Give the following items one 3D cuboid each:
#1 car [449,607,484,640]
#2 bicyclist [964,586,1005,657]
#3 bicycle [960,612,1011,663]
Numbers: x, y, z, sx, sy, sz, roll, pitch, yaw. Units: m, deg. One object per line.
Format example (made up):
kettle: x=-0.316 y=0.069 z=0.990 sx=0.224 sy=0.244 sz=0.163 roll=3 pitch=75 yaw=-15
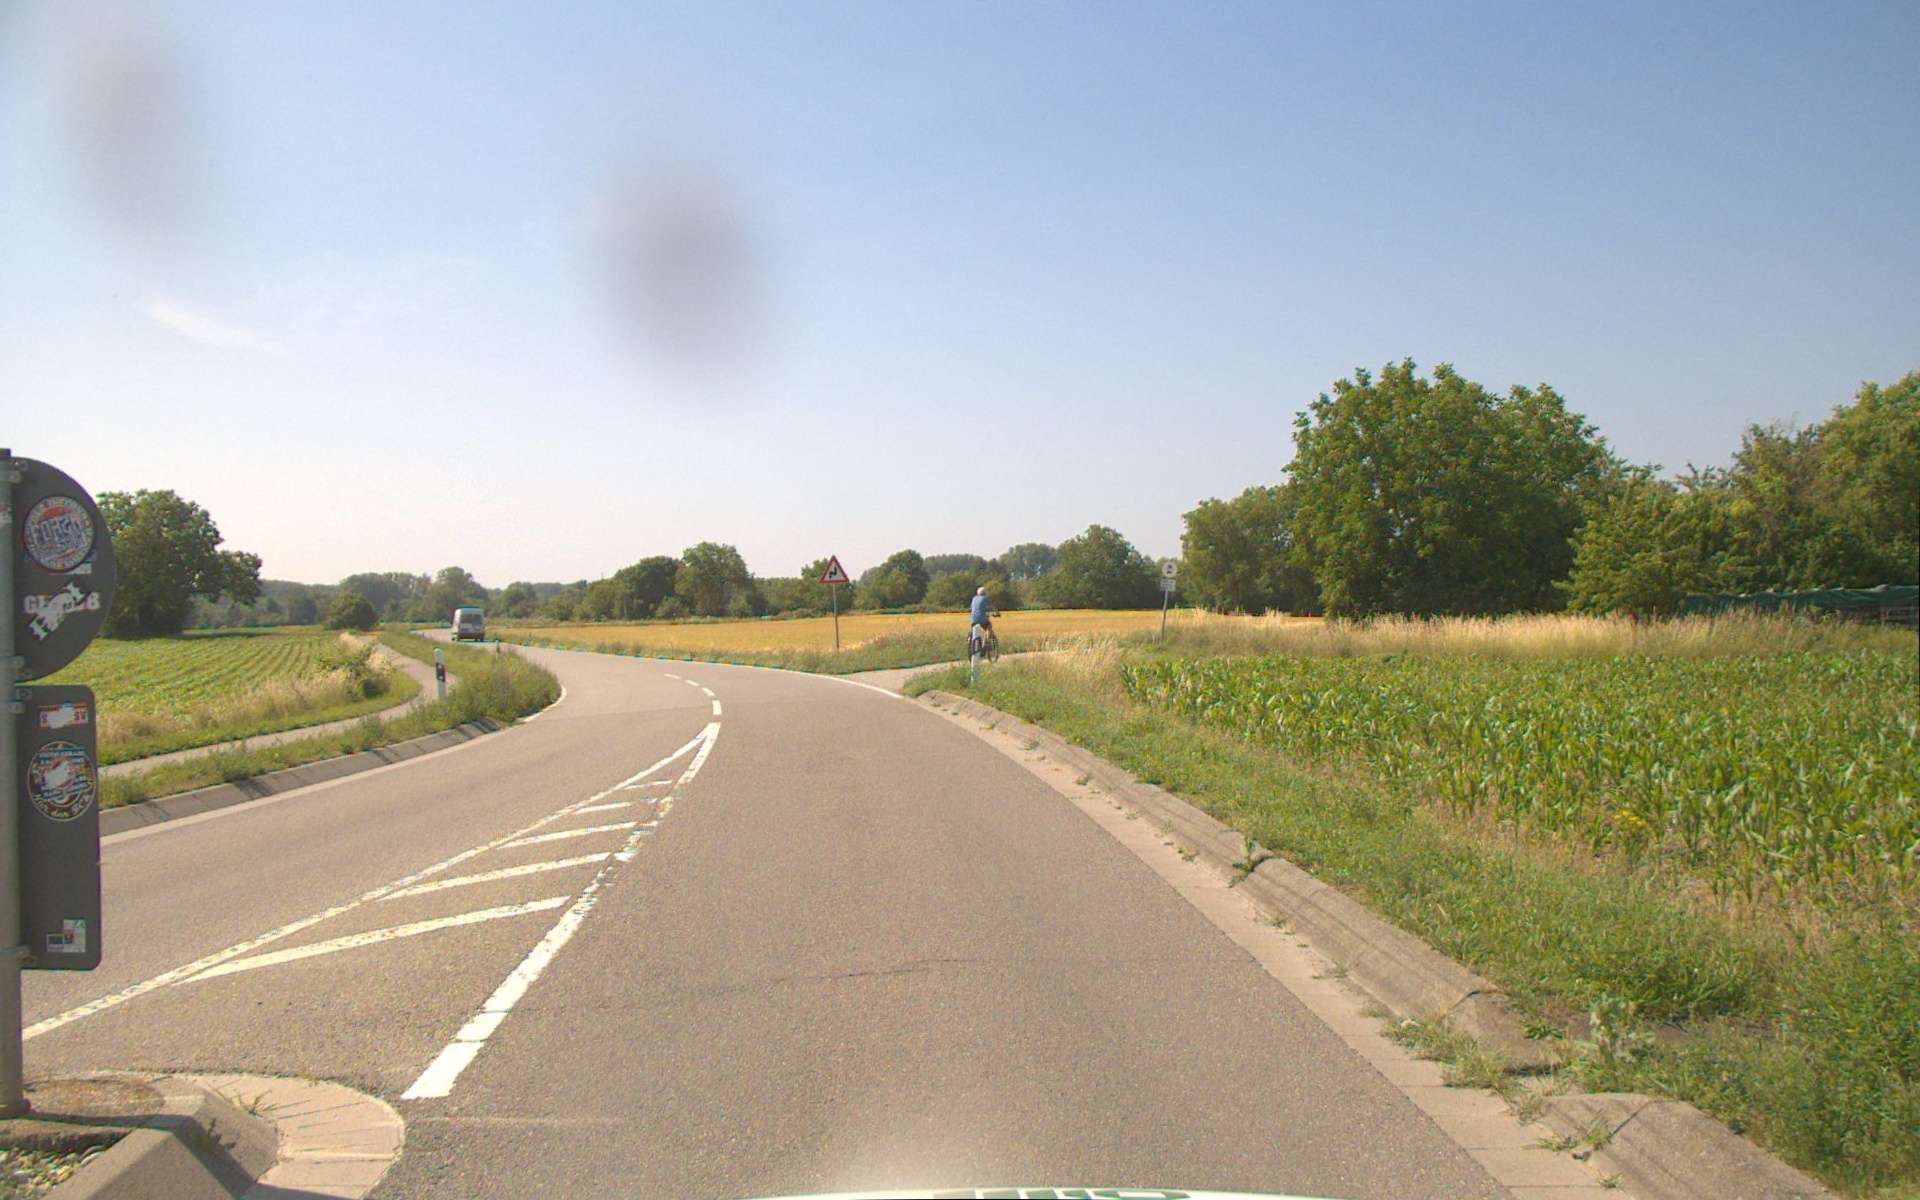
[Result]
car: x=-38.074 y=1.812 z=127.416 sx=2.074 sy=2.408 sz=5.649 roll=-2 pitch=0 yaw=-21
bicyclist: x=0.568 y=0.486 z=38.122 sx=0.659 sy=1.601 sz=0.735 roll=-2 pitch=-1 yaw=23
bicycle: x=0.596 y=0.855 z=38.159 sx=0.509 sy=1.135 sz=1.769 roll=-2 pitch=0 yaw=23
